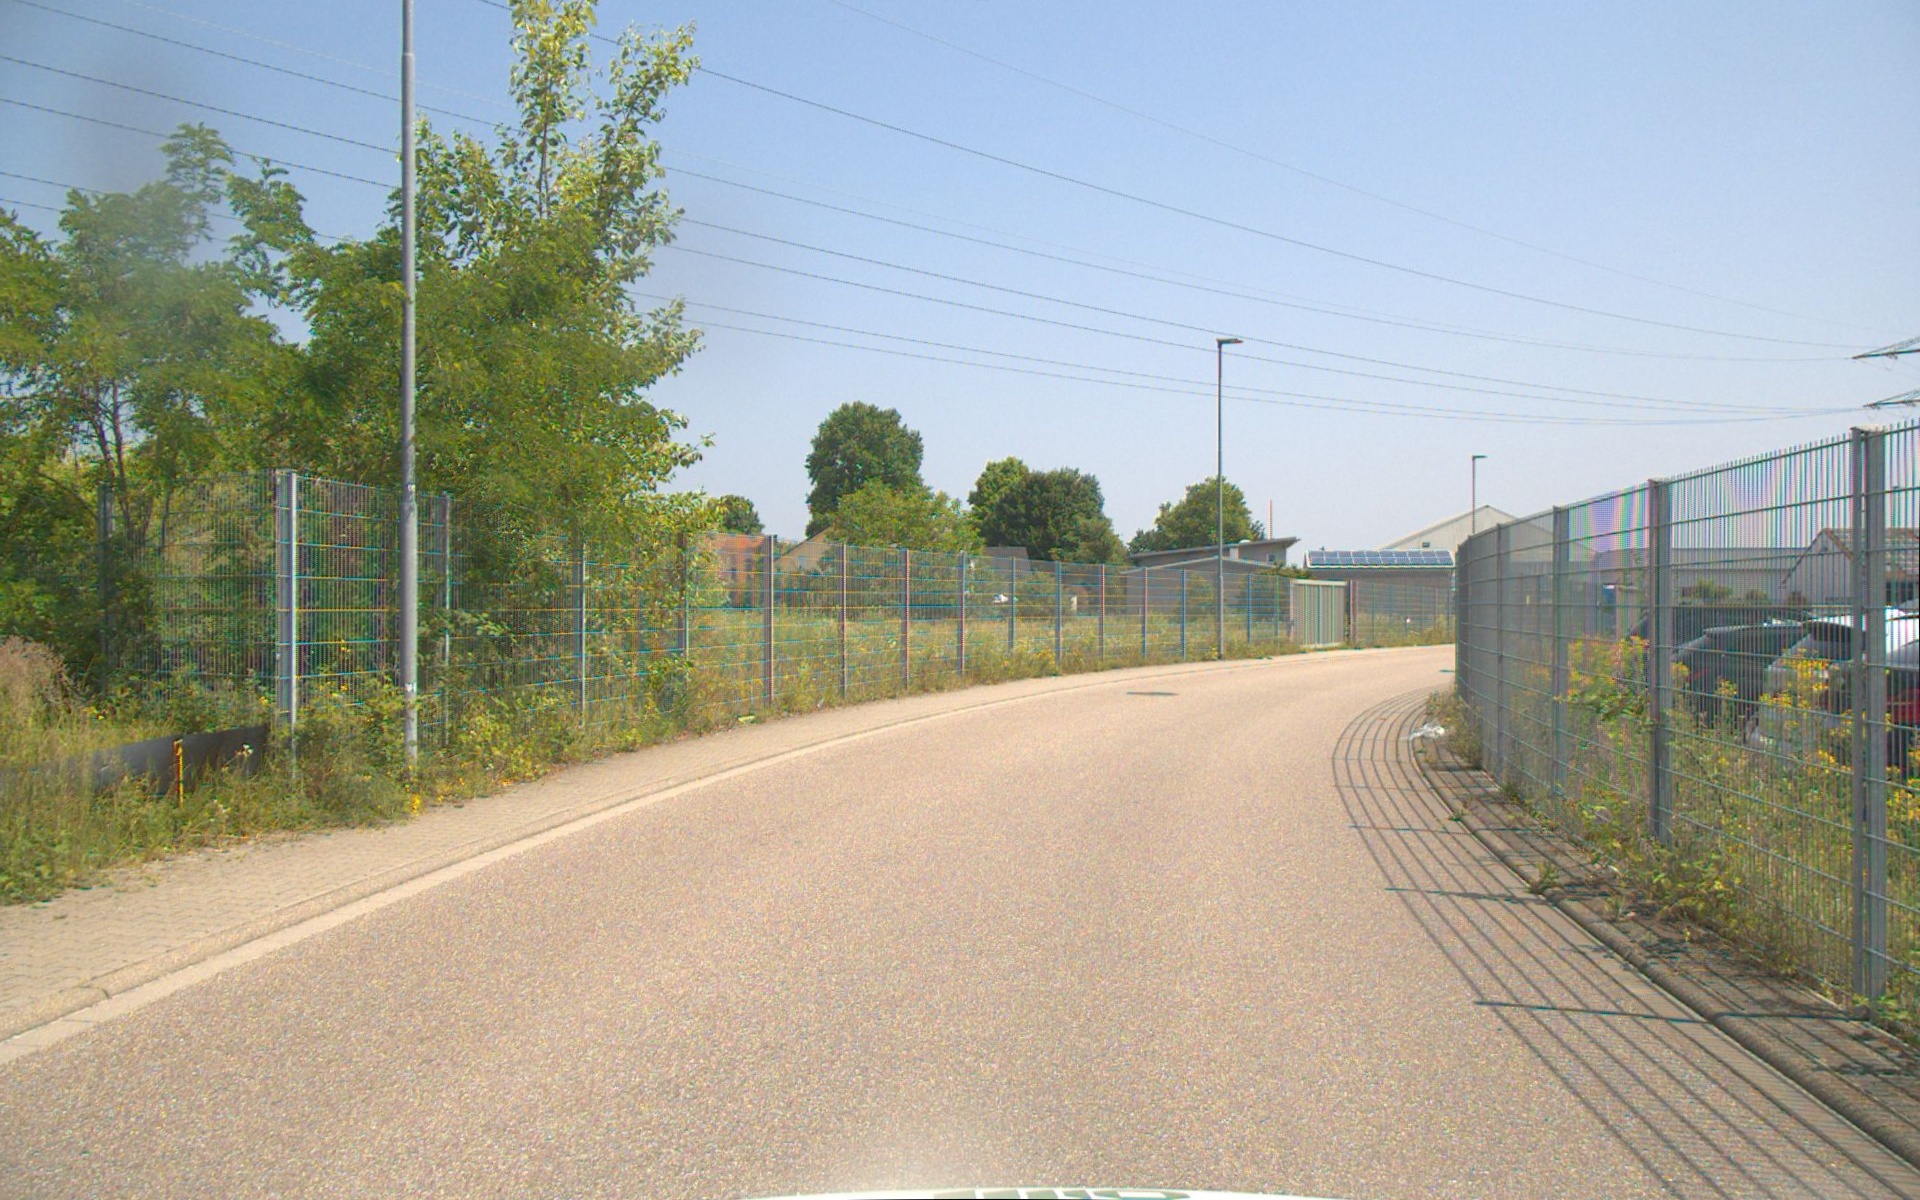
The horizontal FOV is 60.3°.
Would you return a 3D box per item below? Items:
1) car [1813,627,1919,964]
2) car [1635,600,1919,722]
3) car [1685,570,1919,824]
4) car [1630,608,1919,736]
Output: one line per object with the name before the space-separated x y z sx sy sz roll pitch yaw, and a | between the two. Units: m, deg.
car | 7.194 1.009 8.864 4.374 1.699 1.724 0 0 14
car | 10.646 0.715 20.480 4.194 1.402 1.764 0 0 24
car | 7.456 0.634 11.689 4.033 1.699 1.724 0 0 14
car | 11.777 0.955 23.195 4.201 1.666 1.761 0 0 31
